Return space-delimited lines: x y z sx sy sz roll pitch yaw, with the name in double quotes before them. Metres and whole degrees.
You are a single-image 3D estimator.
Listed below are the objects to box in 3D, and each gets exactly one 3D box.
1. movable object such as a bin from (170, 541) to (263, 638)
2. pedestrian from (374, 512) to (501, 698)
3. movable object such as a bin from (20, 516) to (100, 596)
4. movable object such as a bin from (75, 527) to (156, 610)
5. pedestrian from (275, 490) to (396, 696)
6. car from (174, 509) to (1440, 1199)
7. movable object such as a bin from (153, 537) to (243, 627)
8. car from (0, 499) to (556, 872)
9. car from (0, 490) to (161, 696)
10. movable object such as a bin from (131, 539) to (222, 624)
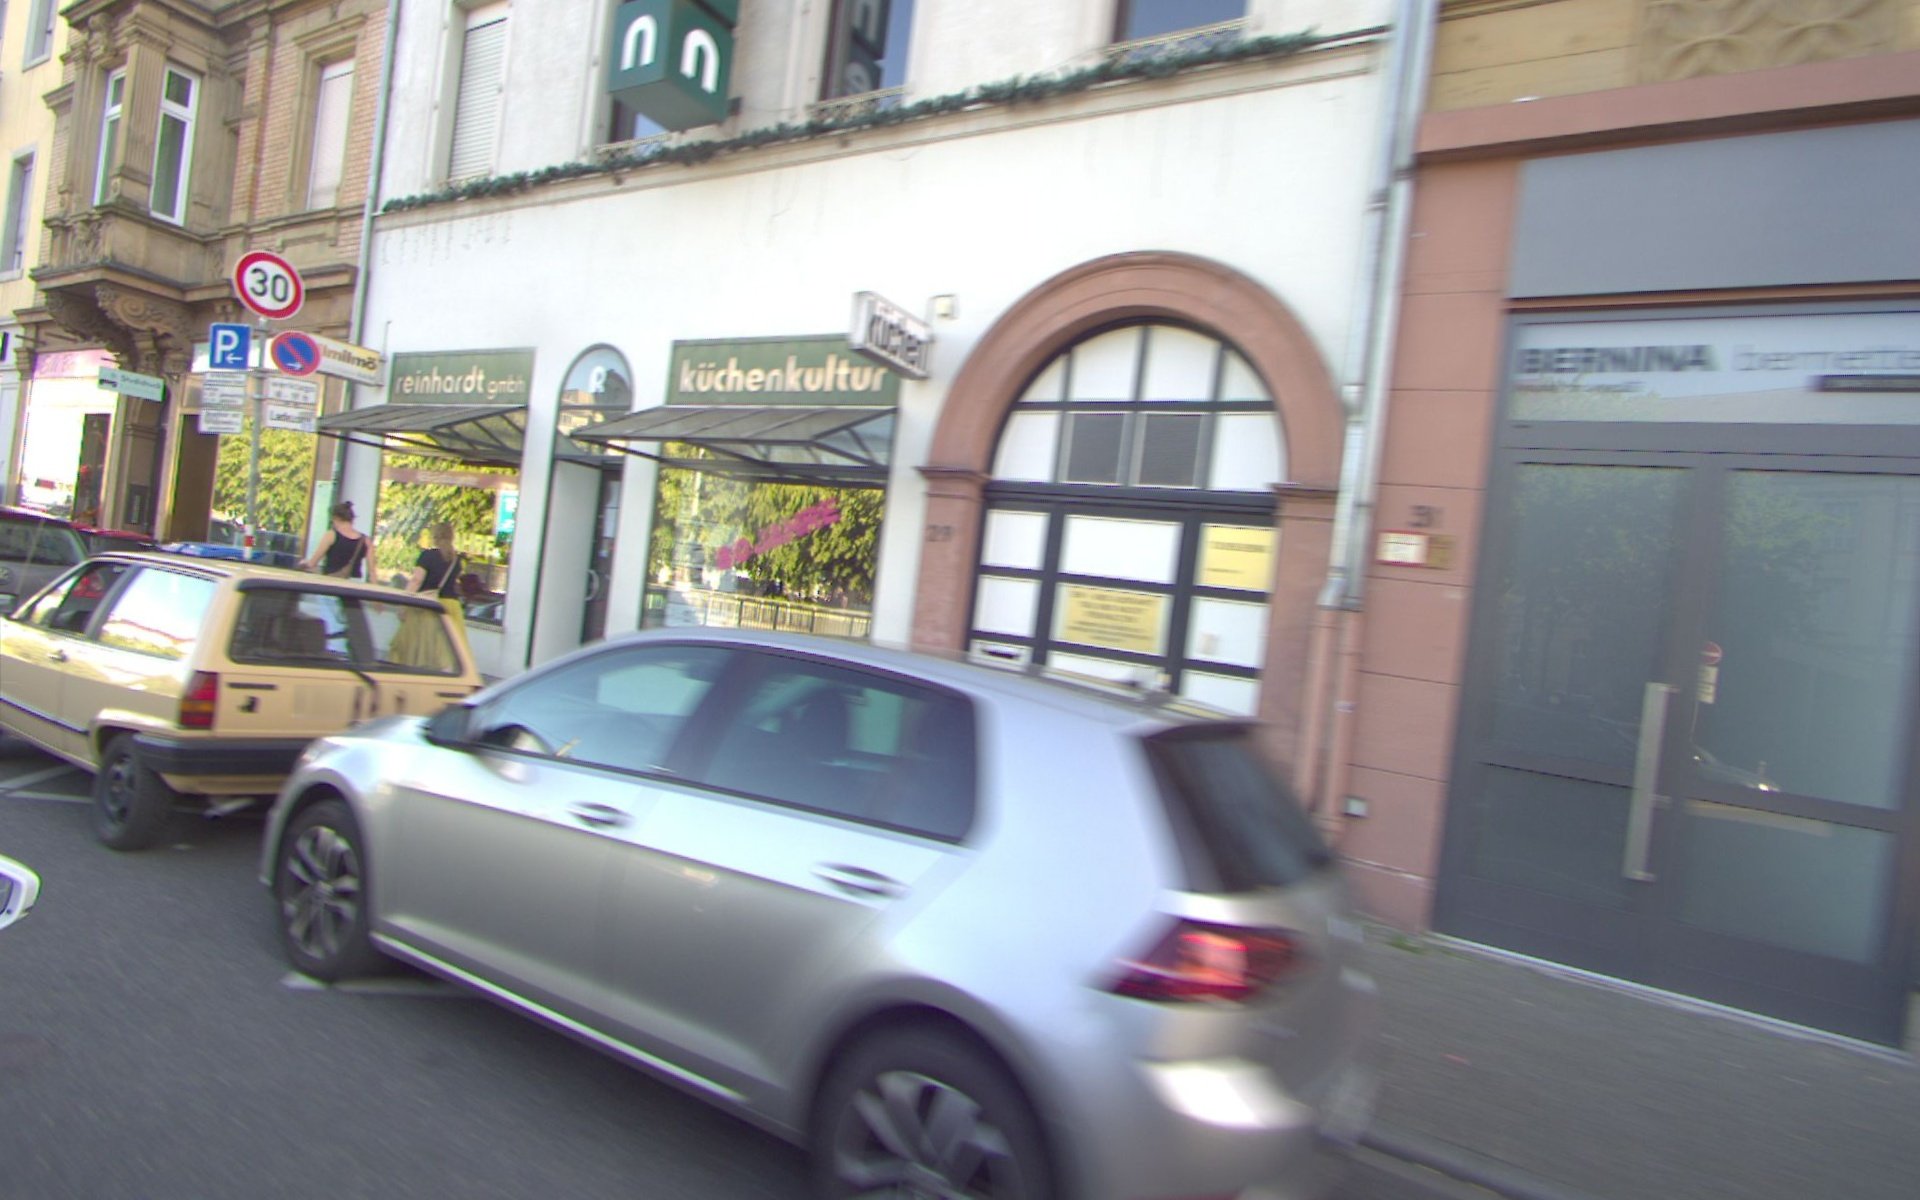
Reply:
"movable object such as a bin" -9.182 -0.119 12.430 0.616 1.110 0.680 7 1 31
"pedestrian" -5.065 0.057 9.769 0.580 1.696 0.801 7 2 34
"movable object such as a bin" -13.461 -0.654 15.042 0.806 1.090 0.644 7 1 32
"movable object such as a bin" -11.885 -0.437 14.159 0.621 1.065 0.645 7 1 30
"pedestrian" -5.678 -0.051 9.161 0.510 1.788 0.620 7 0 34
"car" -0.724 0.701 3.588 4.115 1.504 1.843 7 -2 32
"movable object such as a bin" -9.732 -0.228 12.854 0.616 1.057 0.680 7 1 31
"car" -4.387 0.333 5.995 3.766 1.466 1.612 7 -2 32
"car" -9.163 -0.267 8.860 4.157 1.564 1.843 7 -2 31
"movable object such as a bin" -10.256 -0.239 13.181 0.583 1.013 0.724 7 1 31
